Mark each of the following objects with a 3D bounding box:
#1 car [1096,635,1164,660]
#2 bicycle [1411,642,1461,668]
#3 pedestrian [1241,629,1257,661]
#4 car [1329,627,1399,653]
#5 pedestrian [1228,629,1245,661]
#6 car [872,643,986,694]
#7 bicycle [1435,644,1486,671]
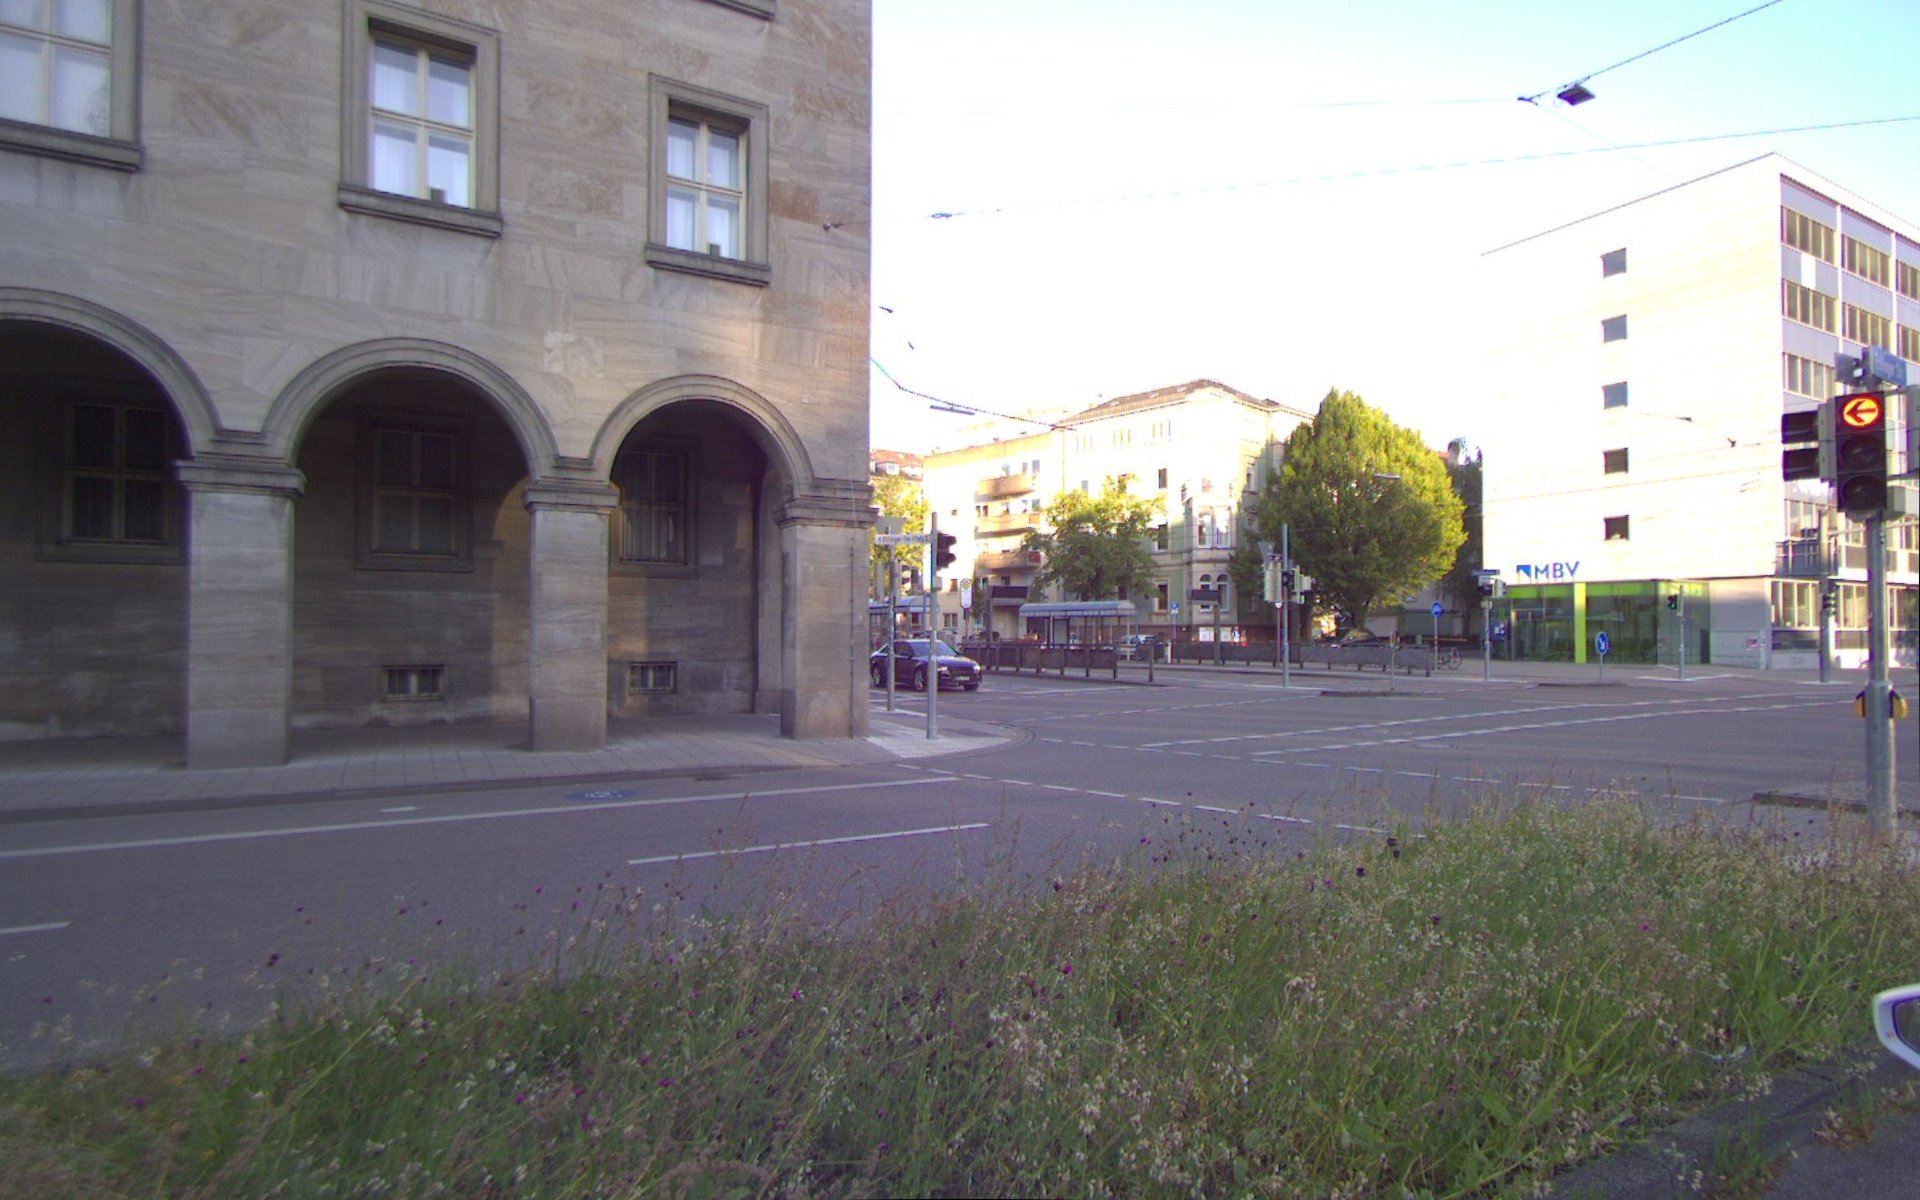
[{"bbox_3d":[9.997,2.767,59.236,3.545,1.390,1.830,-2,-3,45],"label":"car"},{"bbox_3d":[21.092,2.432,44.474,2.183,1.127,0.834,1,-2,-26],"label":"bicycle"},{"bbox_3d":[16.777,2.601,58.349,0.718,1.813,0.634,2,-2,-43],"label":"pedestrian"},{"bbox_3d":[21.983,2.169,54.655,3.553,1.390,1.826,1,-2,-32],"label":"car"},{"bbox_3d":[15.993,2.587,58.098,0.718,1.813,0.634,2,-2,-44],"label":"pedestrian"},{"bbox_3d":[-1.001,1.965,29.683,1.791,1.344,4.120,1,-2,-27],"label":"car"},{"bbox_3d":[21.635,2.467,43.402,2.183,1.127,0.834,1,-2,-26],"label":"bicycle"}]
